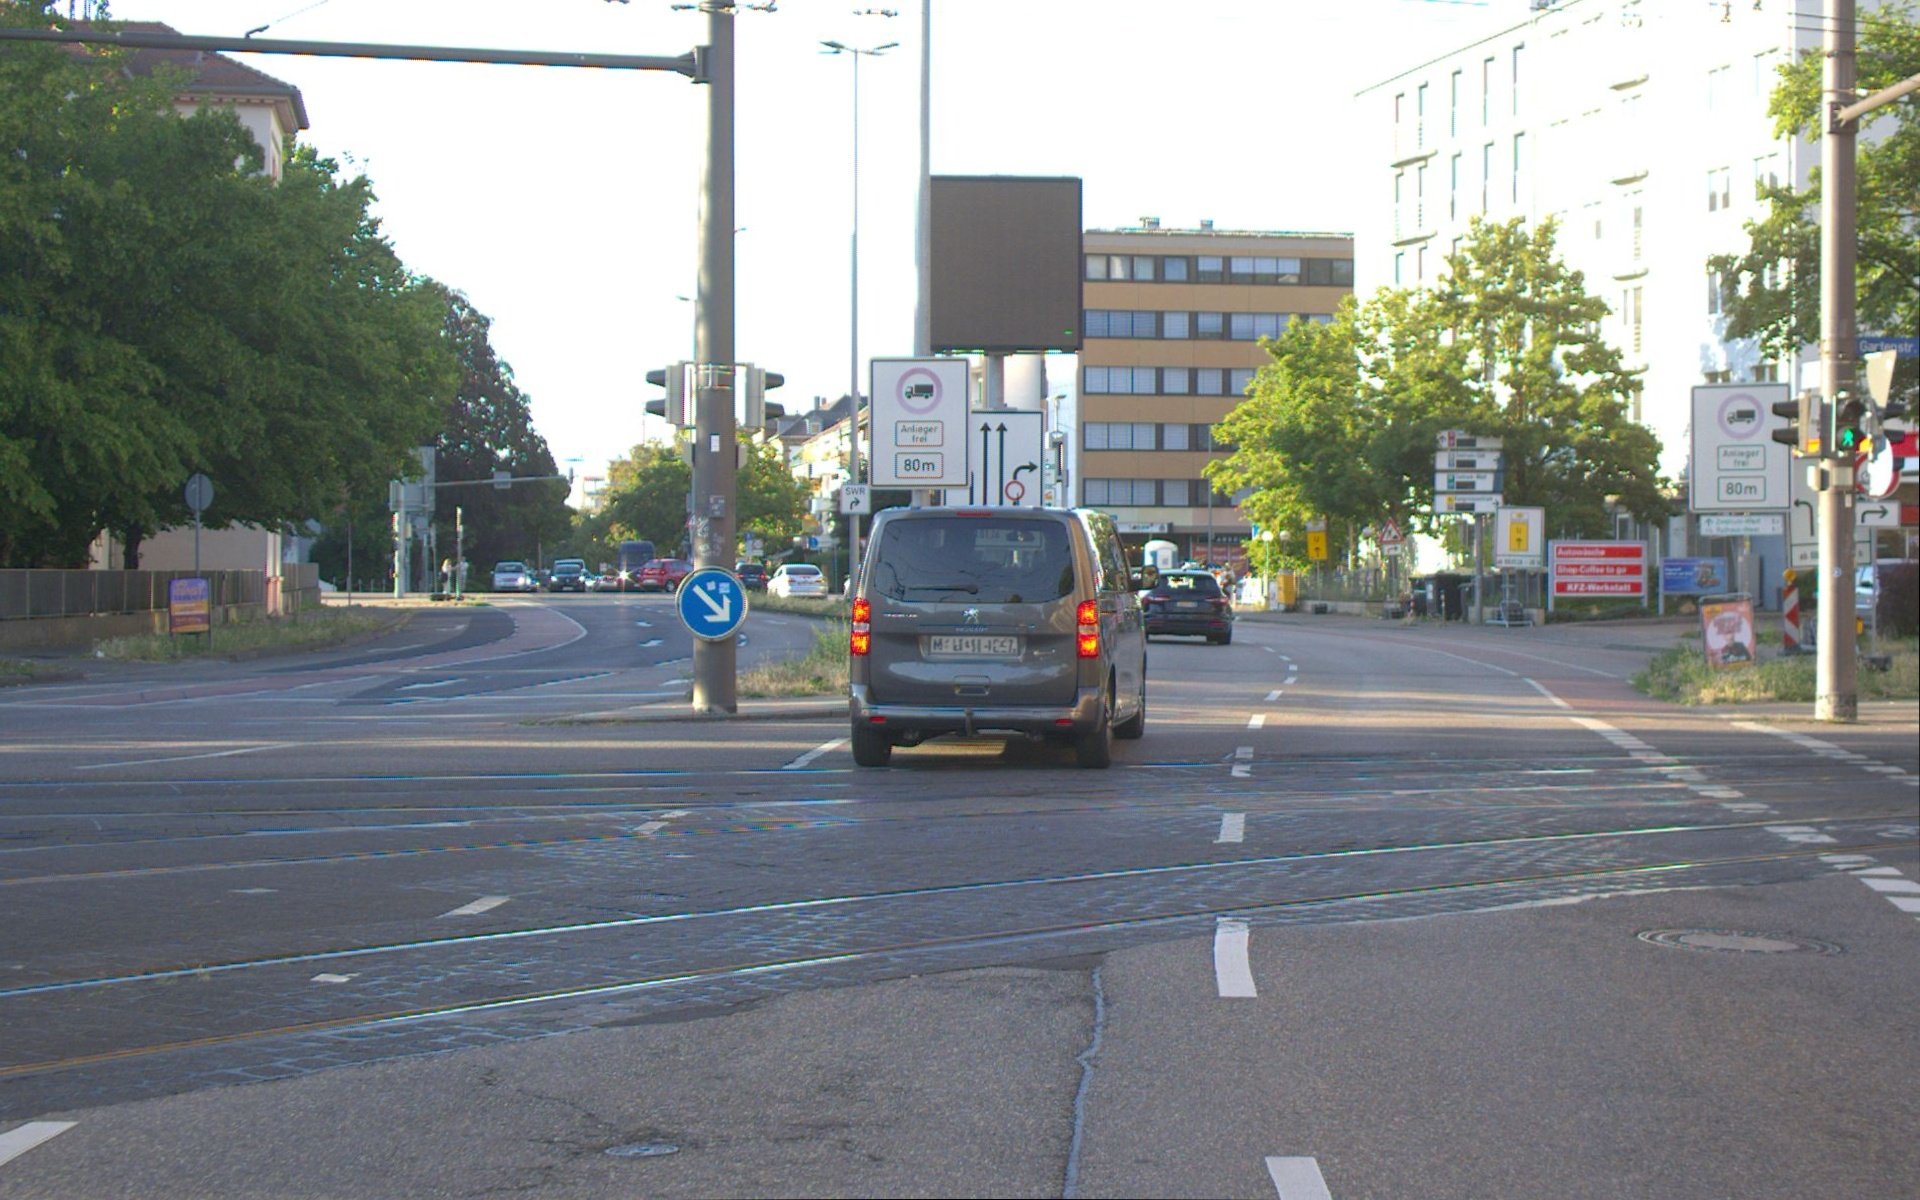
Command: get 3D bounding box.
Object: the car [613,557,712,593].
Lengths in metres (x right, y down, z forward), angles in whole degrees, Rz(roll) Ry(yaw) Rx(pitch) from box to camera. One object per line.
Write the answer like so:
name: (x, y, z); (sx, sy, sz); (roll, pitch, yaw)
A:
car: (-13.343, -1.115, 154.110); (3.986, 1.590, 2.000); (0, 1, -25)

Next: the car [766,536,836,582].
car: (-5.822, -1.506, 125.272); (1.993, 1.651, 4.300); (0, 1, -10)

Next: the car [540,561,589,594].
car: (-19.790, -1.143, 172.152); (1.993, 1.590, 4.000); (0, 1, -1)

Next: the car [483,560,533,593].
car: (-22.567, -1.202, 171.611); (1.993, 1.590, 4.000); (0, 1, -1)

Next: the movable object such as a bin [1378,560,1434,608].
movable object such as a bin: (13.146, -0.476, 101.370); (1.463, 1.381, 1.547); (0, 1, 1)

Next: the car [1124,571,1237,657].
car: (4.136, 0.248, 65.028); (1.845, 1.539, 3.631); (0, 1, -1)

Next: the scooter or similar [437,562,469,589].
scooter or similar: (-19.397, -0.942, 131.597); (1.098, 0.973, 0.559); (2, 0, -17)

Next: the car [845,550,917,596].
car: (-2.927, -0.994, 126.547); (1.993, 1.651, 4.300); (0, 1, -10)

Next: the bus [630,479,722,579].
bus: (-13.859, -3.395, 166.954); (3.289, 4.601, 10.003); (2, 0, -11)

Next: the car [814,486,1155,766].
car: (0.284, 0.169, 25.990); (1.994, 1.894, 4.298); (1, 0, 8)

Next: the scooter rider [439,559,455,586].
scooter rider: (-19.614, -1.057, 131.536); (0.509, 1.032, 0.446); (2, 0, -18)
